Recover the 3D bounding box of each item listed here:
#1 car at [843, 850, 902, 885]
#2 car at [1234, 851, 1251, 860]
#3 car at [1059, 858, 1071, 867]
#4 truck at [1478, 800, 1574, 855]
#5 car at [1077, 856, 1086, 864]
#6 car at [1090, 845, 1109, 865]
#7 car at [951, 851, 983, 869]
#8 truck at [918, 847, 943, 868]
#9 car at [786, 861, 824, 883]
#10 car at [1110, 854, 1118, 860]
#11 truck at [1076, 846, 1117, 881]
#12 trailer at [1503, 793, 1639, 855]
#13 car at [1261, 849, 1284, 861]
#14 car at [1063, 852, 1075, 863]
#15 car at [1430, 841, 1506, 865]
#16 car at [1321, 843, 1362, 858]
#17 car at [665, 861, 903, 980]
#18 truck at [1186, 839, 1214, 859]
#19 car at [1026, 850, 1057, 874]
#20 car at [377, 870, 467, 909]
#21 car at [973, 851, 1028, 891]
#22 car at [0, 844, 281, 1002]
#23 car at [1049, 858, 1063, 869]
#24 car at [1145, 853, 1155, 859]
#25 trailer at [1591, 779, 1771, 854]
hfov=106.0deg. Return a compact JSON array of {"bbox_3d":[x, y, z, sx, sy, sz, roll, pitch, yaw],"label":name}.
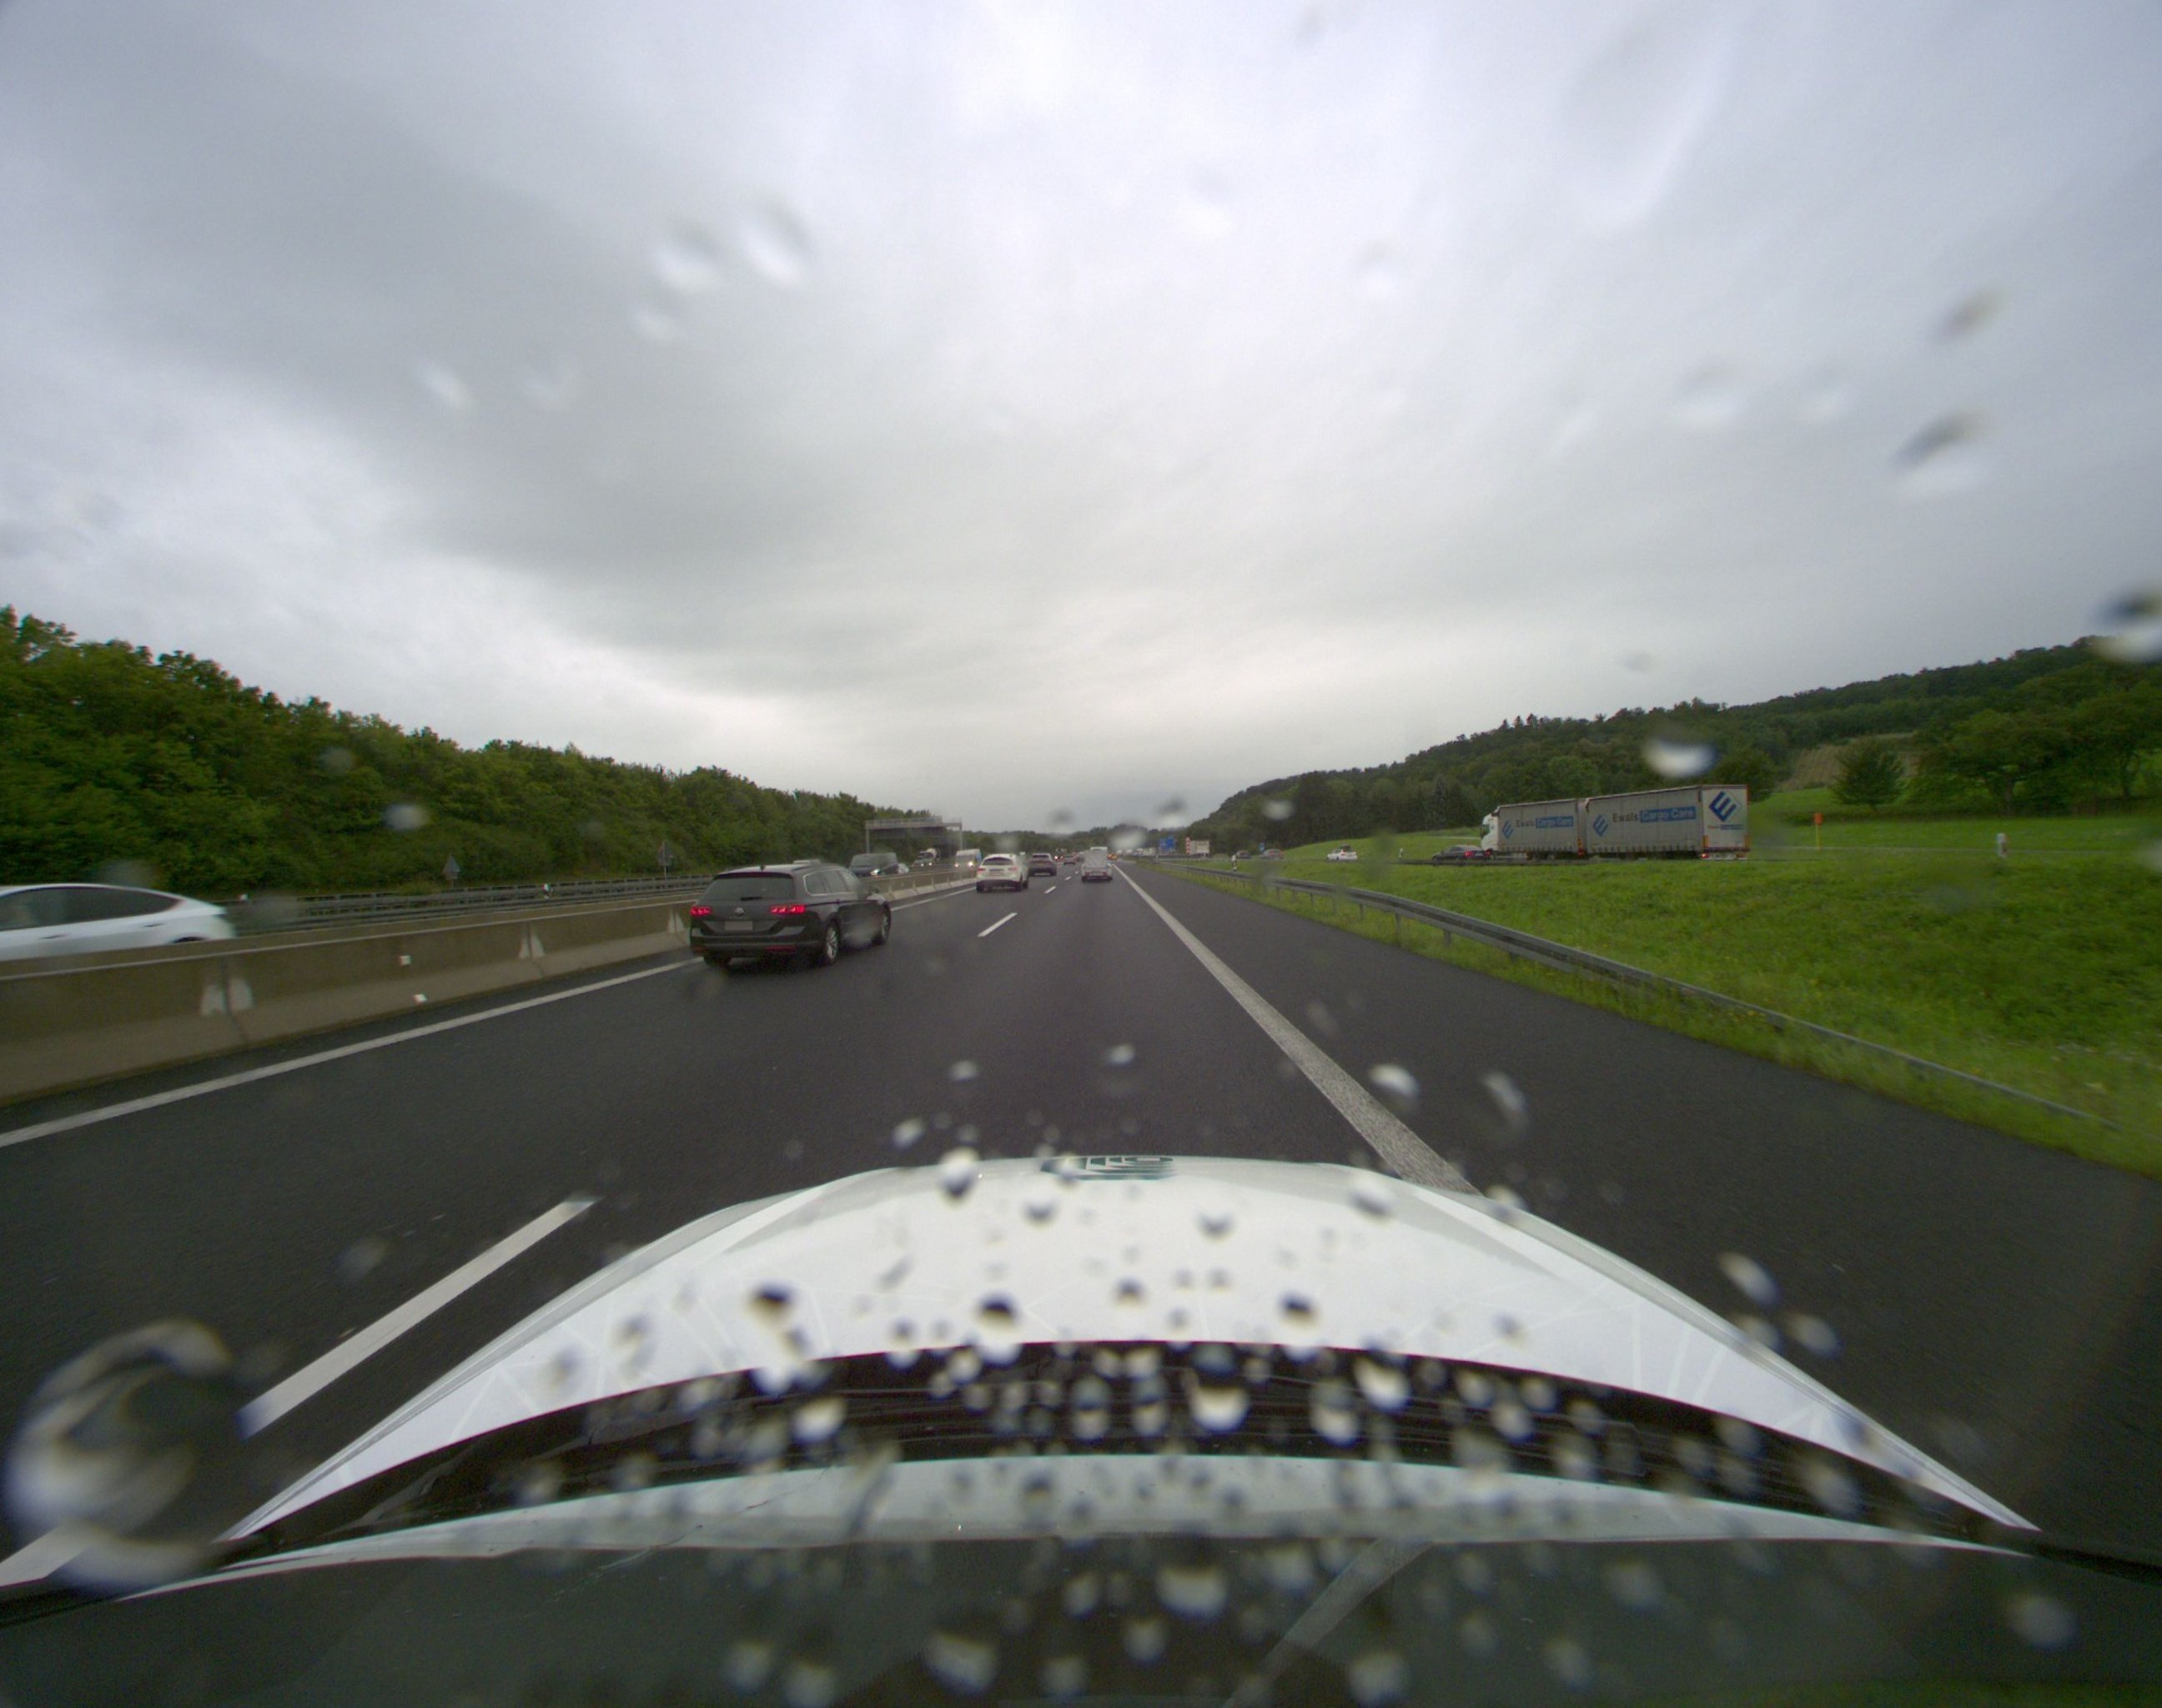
[{"bbox_3d":[-11.397,0.706,44.787,1.987,1.836,4.679,0,0,0],"label":"car"},{"bbox_3d":[23.692,0.188,119.509,1.692,1.288,3.533,0,-1,-1],"label":"car"},{"bbox_3d":[-2.866,1.528,147.982,1.812,1.662,4.019,-2,0,2],"label":"car"},{"bbox_3d":[29.975,-1.713,55.169,2.933,3.527,5.916,0,0,-5],"label":"truck"},{"bbox_3d":[0.153,1.207,169.187,1.639,1.574,4.002,0,0,2],"label":"car"},{"bbox_3d":[2.467,0.148,111.651,2.325,2.725,6.536,-1,0,-1],"label":"car"},{"bbox_3d":[-11.477,0.549,82.372,2.350,1.693,5.905,-2,0,0],"label":"car"},{"bbox_3d":[-28.011,0.660,151.676,2.676,3.661,9.558,-2,0,1],"label":"truck"},{"bbox_3d":[-26.658,1.710,78.771,1.987,2.014,4.715,-1,0,0],"label":"car"},{"bbox_3d":[9.534,0.887,237.503,1.989,1.552,3.995,0,0,-4],"label":"car"},{"bbox_3d":[0.899,0.520,47.714,2.234,1.839,6.585,-1,0,1],"label":"truck"},{"bbox_3d":[30.361,-1.732,51.065,2.933,3.527,8.404,0,0,-5],"label":"trailer"},{"bbox_3d":[21.432,0.138,91.209,1.536,1.288,3.529,0,-1,-4],"label":"car"},{"bbox_3d":[-1.885,0.555,127.738,1.732,1.794,4.001,-1,0,1],"label":"car"},{"bbox_3d":[24.163,-0.062,51.070,1.982,1.377,5.312,-1,0,-3],"label":"car"},{"bbox_3d":[25.931,-0.356,81.317,1.984,1.377,5.067,-2,0,-6],"label":"car"},{"bbox_3d":[-4.340,0.878,12.864,1.780,1.459,4.805,-1,0,3],"label":"car"},{"bbox_3d":[22.174,-0.955,152.301,3.816,3.659,8.264,0,0,-2],"label":"truck"},{"bbox_3d":[-2.966,0.580,62.042,1.969,1.703,4.803,-1,0,1],"label":"car"},{"bbox_3d":[-37.570,2.002,46.550,1.742,2.013,4.002,-2,0,2],"label":"car"},{"bbox_3d":[-3.546,0.723,36.525,2.042,1.670,4.539,-1,0,-1],"label":"car"},{"bbox_3d":[-13.166,0.800,9.780,2.148,1.765,4.960,-1,0,0],"label":"car"},{"bbox_3d":[-3.675,1.397,122.550,1.812,1.662,4.019,-2,0,2],"label":"car"},{"bbox_3d":[17.707,0.598,209.381,1.988,1.552,3.997,0,0,-2],"label":"car"},{"bbox_3d":[31.123,-1.769,42.833,3.073,3.527,8.070,0,0,-5],"label":"trailer"}]
